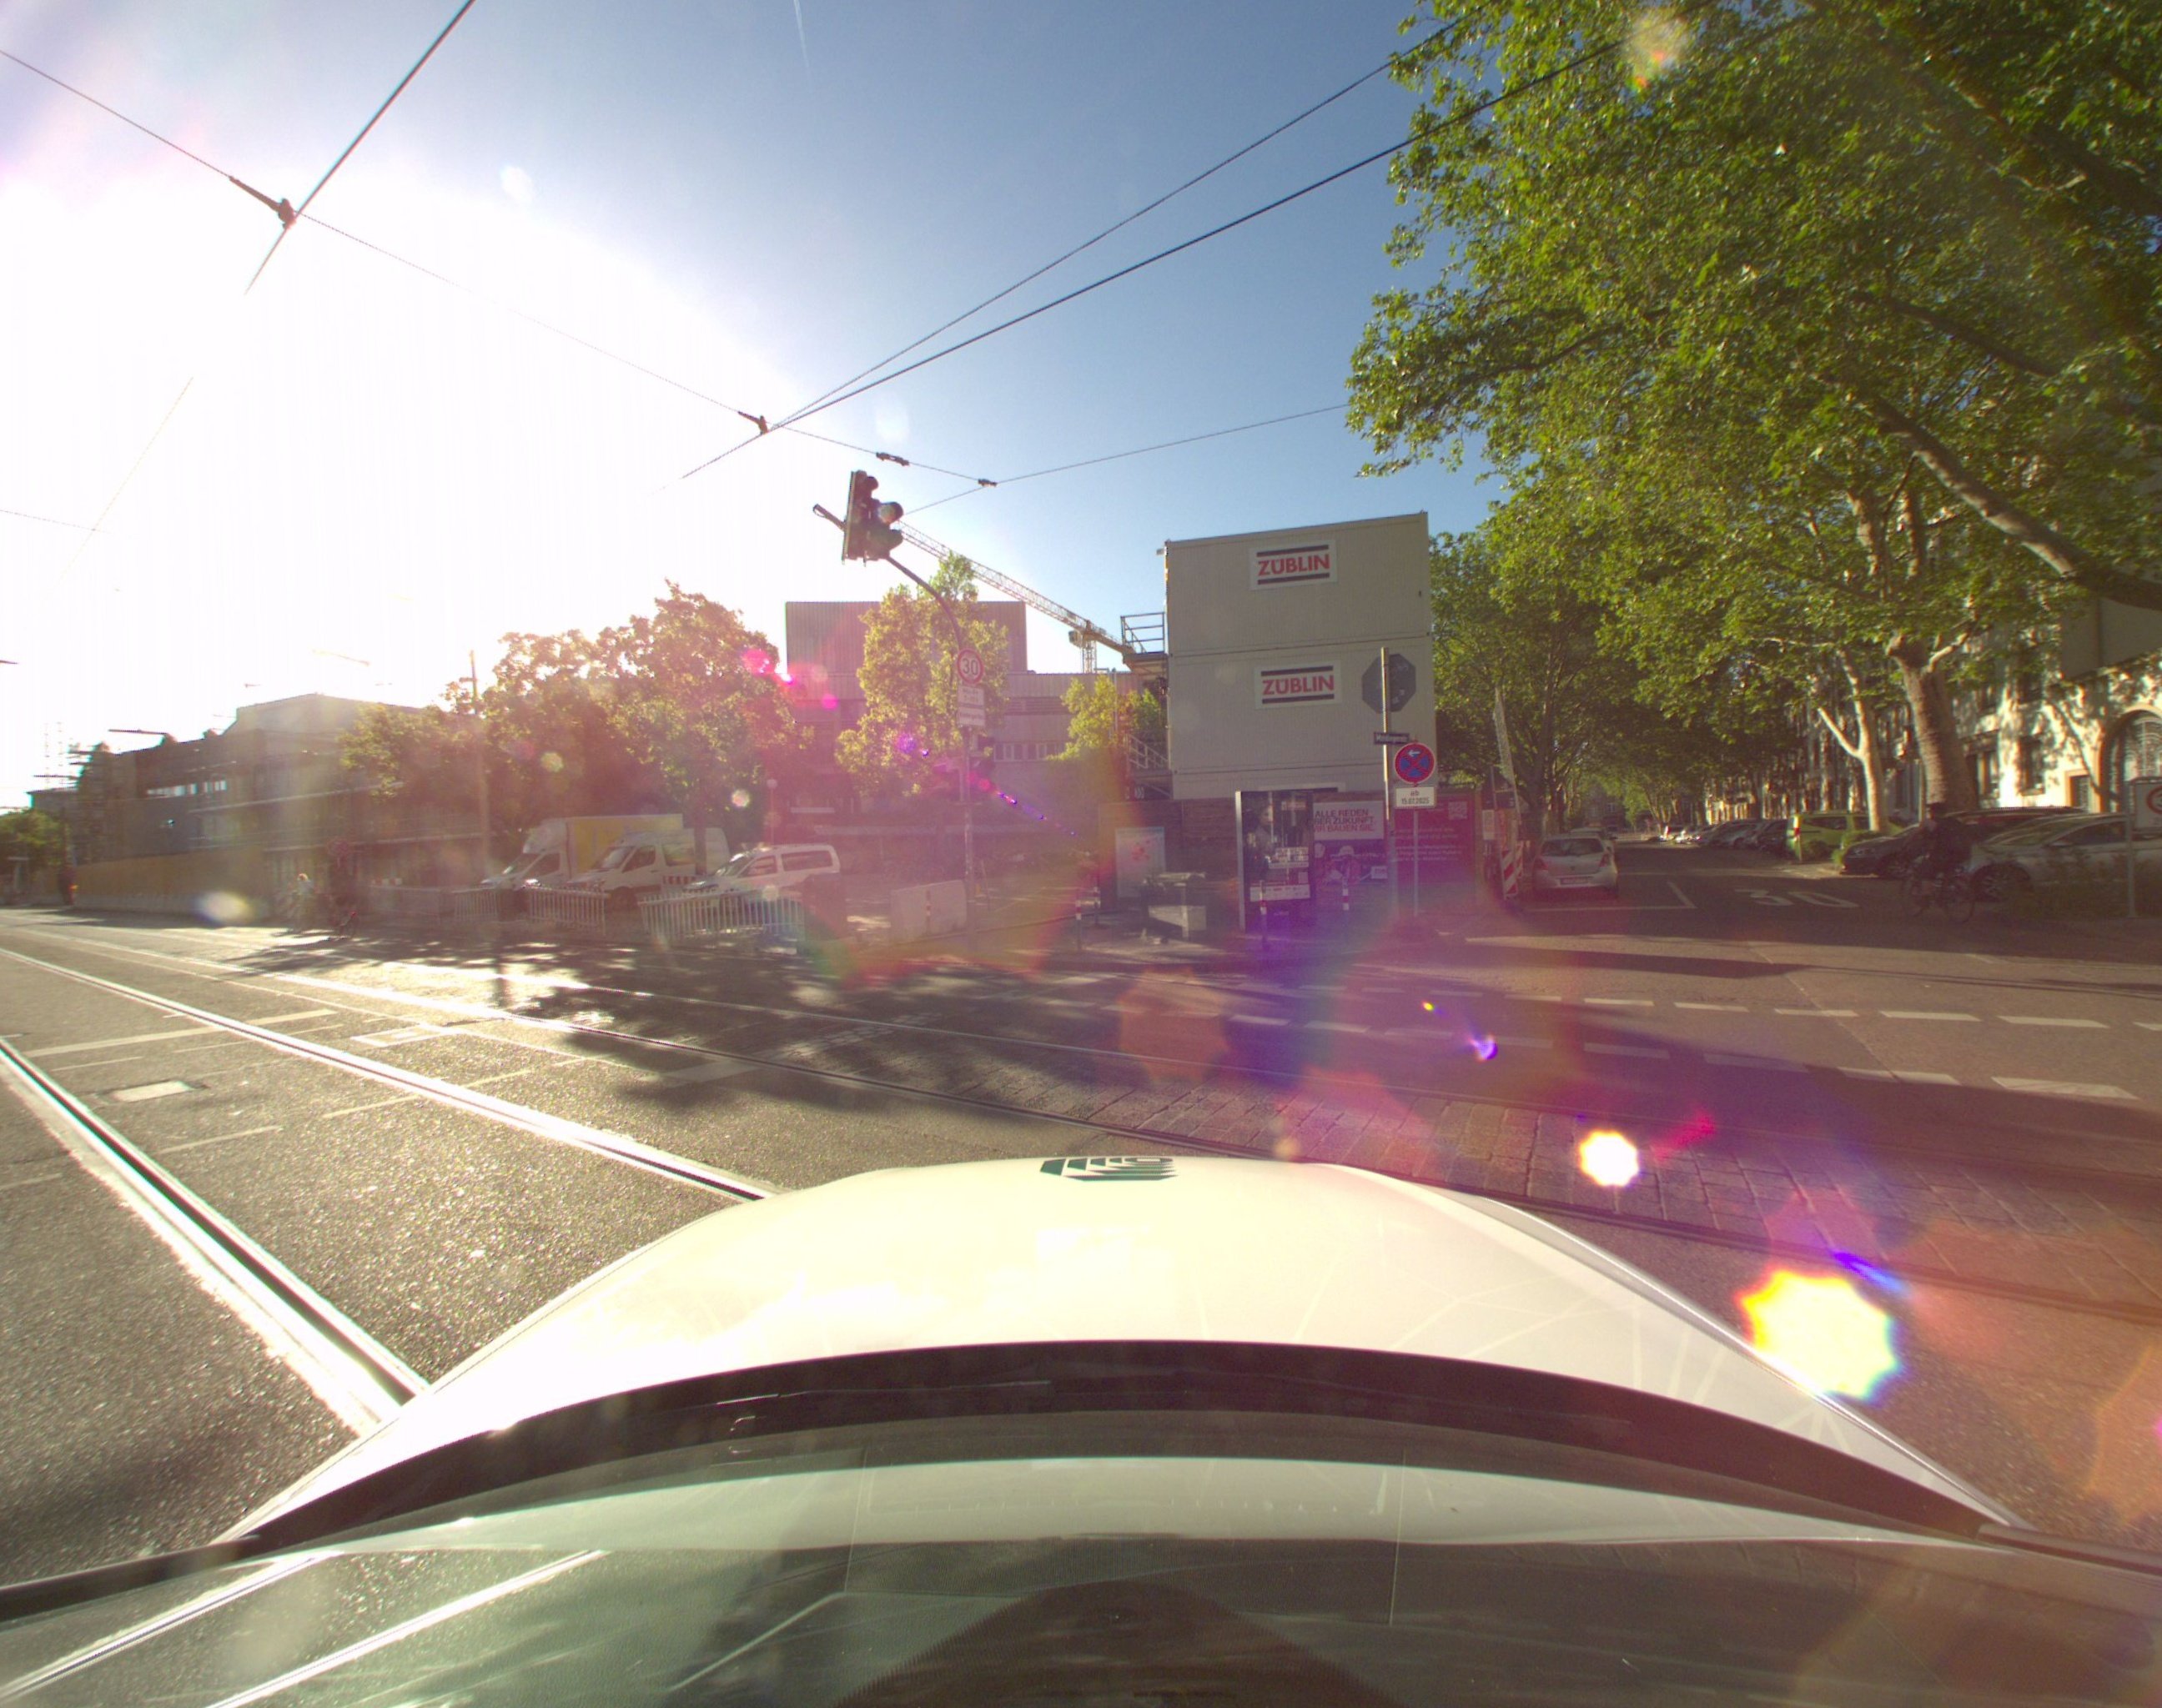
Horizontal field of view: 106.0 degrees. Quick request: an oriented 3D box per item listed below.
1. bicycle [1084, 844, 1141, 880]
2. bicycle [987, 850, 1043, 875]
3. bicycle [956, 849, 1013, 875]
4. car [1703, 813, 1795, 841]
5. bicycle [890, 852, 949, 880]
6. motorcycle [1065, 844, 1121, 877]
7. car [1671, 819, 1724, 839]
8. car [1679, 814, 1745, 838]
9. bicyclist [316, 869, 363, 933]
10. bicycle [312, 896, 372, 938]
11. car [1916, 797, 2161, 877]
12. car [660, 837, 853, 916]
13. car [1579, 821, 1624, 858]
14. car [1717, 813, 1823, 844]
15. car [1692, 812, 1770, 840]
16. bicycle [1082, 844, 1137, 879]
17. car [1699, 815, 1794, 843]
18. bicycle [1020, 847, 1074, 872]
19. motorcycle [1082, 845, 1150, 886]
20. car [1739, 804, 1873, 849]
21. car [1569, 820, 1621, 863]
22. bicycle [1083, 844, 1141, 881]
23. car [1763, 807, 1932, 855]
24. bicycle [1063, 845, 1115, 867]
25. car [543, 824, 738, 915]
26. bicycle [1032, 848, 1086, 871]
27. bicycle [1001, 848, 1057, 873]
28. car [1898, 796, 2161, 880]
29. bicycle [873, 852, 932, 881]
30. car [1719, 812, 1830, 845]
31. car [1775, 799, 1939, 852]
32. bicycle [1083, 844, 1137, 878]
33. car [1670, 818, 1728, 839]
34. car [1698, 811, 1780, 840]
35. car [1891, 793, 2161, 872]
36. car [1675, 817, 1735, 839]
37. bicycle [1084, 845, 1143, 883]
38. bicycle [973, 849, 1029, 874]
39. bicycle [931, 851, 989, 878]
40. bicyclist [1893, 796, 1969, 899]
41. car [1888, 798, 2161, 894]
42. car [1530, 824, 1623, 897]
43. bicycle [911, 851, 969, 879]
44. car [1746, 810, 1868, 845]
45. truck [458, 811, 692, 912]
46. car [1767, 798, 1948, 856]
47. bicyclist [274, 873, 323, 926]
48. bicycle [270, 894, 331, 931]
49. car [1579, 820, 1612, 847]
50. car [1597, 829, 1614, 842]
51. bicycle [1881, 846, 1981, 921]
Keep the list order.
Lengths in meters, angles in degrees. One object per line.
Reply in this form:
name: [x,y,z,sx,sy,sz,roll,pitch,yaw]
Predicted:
bicycle: [1.192,0.292,30.587,2.039,1.257,0.542,-3,1,-5]
bicycle: [-3.275,0.411,40.045,3.050,1.147,0.827,-2,1,42]
bicycle: [-4.590,0.393,38.609,3.050,1.147,0.827,-2,1,42]
car: [43.415,-1.721,53.074,4.418,1.571,1.739,-2,0,32]
bicycle: [-7.112,0.530,35.747,3.050,1.147,0.827,-2,1,42]
motorcycle: [0.493,0.269,33.527,2.201,1.257,0.542,-3,1,-5]
car: [67.072,-2.703,88.715,4.418,1.898,1.739,-2,0,32]
car: [56.008,-2.433,72.373,4.418,1.898,1.739,-2,0,32]
bicyclist: [-19.967,1.246,21.934,0.801,1.658,0.687,-2,0,32]
bicycle: [-19.909,1.681,21.923,1.896,1.018,0.687,-2,0,32]
car: [21.586,-0.363,17.740,4.418,1.571,1.739,-2,0,32]
car: [-9.677,0.598,24.690,1.985,1.892,4.980,-1,3,38]
car: [24.094,-0.715,37.792,1.649,1.562,4.548,-2,1,31]
car: [39.665,-1.452,47.008,4.418,1.571,1.739,-2,0,32]
car: [49.023,-2.111,61.531,4.418,1.898,1.739,-2,0,32]
bicycle: [1.115,0.283,31.779,2.039,1.257,0.542,-3,1,-5]
car: [41.829,-1.553,51.327,4.418,1.571,1.739,-2,0,32]
bicycle: [-1.764,0.299,41.631,3.050,1.147,0.827,-2,1,42]
motorcycle: [1.180,0.372,27.444,2.201,1.257,0.542,-3,1,-5]
car: [33.734,-1.259,38.075,4.418,1.836,1.739,-2,0,32]
car: [20.815,-0.527,33.039,1.649,1.562,4.026,-2,1,31]
bicycle: [1.148,0.297,30.033,2.040,1.257,0.470,-3,1,-5]
car: [29.056,-0.851,31.084,4.418,1.571,1.739,-2,0,32]
bicycle: [0.436,0.136,45.591,3.050,1.147,0.827,-2,1,42]
car: [-14.841,0.412,27.853,1.974,2.530,5.417,-2,4,30]
bicycle: [-1.177,0.295,42.370,3.050,1.147,0.827,-2,1,42]
bicycle: [-2.620,0.336,40.775,3.050,1.147,0.827,-2,1,42]
car: [19.589,-0.316,16.199,4.418,1.500,1.739,-2,0,32]
bicycle: [-7.681,0.548,34.920,3.050,1.147,0.827,-2,1,42]
car: [38.197,-1.395,44.992,4.418,1.571,1.739,-2,0,32]
car: [30.631,-1.092,32.343,4.418,1.836,1.739,-2,0,32]
bicycle: [1.139,0.278,32.376,2.039,1.257,0.542,-3,1,-5]
car: [61.606,-2.548,81.313,4.418,1.898,1.739,-2,0,32]
car: [47.652,-2.039,59.099,4.418,1.898,1.739,-2,0,32]
car: [22.722,-0.486,19.504,4.418,1.671,1.739,-2,0,32]
car: [60.132,-2.515,78.612,4.418,1.898,1.739,-2,0,32]
bicycle: [1.183,0.344,29.523,2.040,1.257,0.470,-3,1,-5]
bicycle: [-3.909,0.373,39.399,3.050,1.147,0.827,-2,1,42]
bicycle: [-5.594,0.487,37.395,3.050,1.147,0.827,-2,1,42]
bicyclist: [12.928,-0.108,12.402,0.669,1.512,0.673,0,1,34]
car: [17.687,-0.150,14.495,4.418,1.571,1.739,-2,0,32]
car: [11.795,0.103,19.430,1.627,1.494,4.026,-5,-1,31]
bicycle: [-6.359,0.508,36.626,3.050,1.147,0.827,-2,1,42]
car: [37.155,-1.353,41.818,4.418,1.571,1.739,-2,0,32]
truck: [-19.220,0.120,31.467,2.359,3.347,7.167,-2,2,33]
car: [27.867,-0.936,29.434,4.418,1.836,1.739,-2,0,32]
bicyclist: [-24.992,1.437,26.010,1.086,1.640,0.901,-2,-1,34]
bicycle: [-24.862,1.850,25.932,2.399,1.093,0.901,-2,-1,34]
car: [32.807,-1.315,51.977,1.649,1.562,4.646,-2,1,31]
car: [66.383,-2.304,103.026,1.649,1.562,4.246,-2,1,31]
bicycle: [13.011,0.414,12.525,0.683,1.016,1.920,0,1,34]
